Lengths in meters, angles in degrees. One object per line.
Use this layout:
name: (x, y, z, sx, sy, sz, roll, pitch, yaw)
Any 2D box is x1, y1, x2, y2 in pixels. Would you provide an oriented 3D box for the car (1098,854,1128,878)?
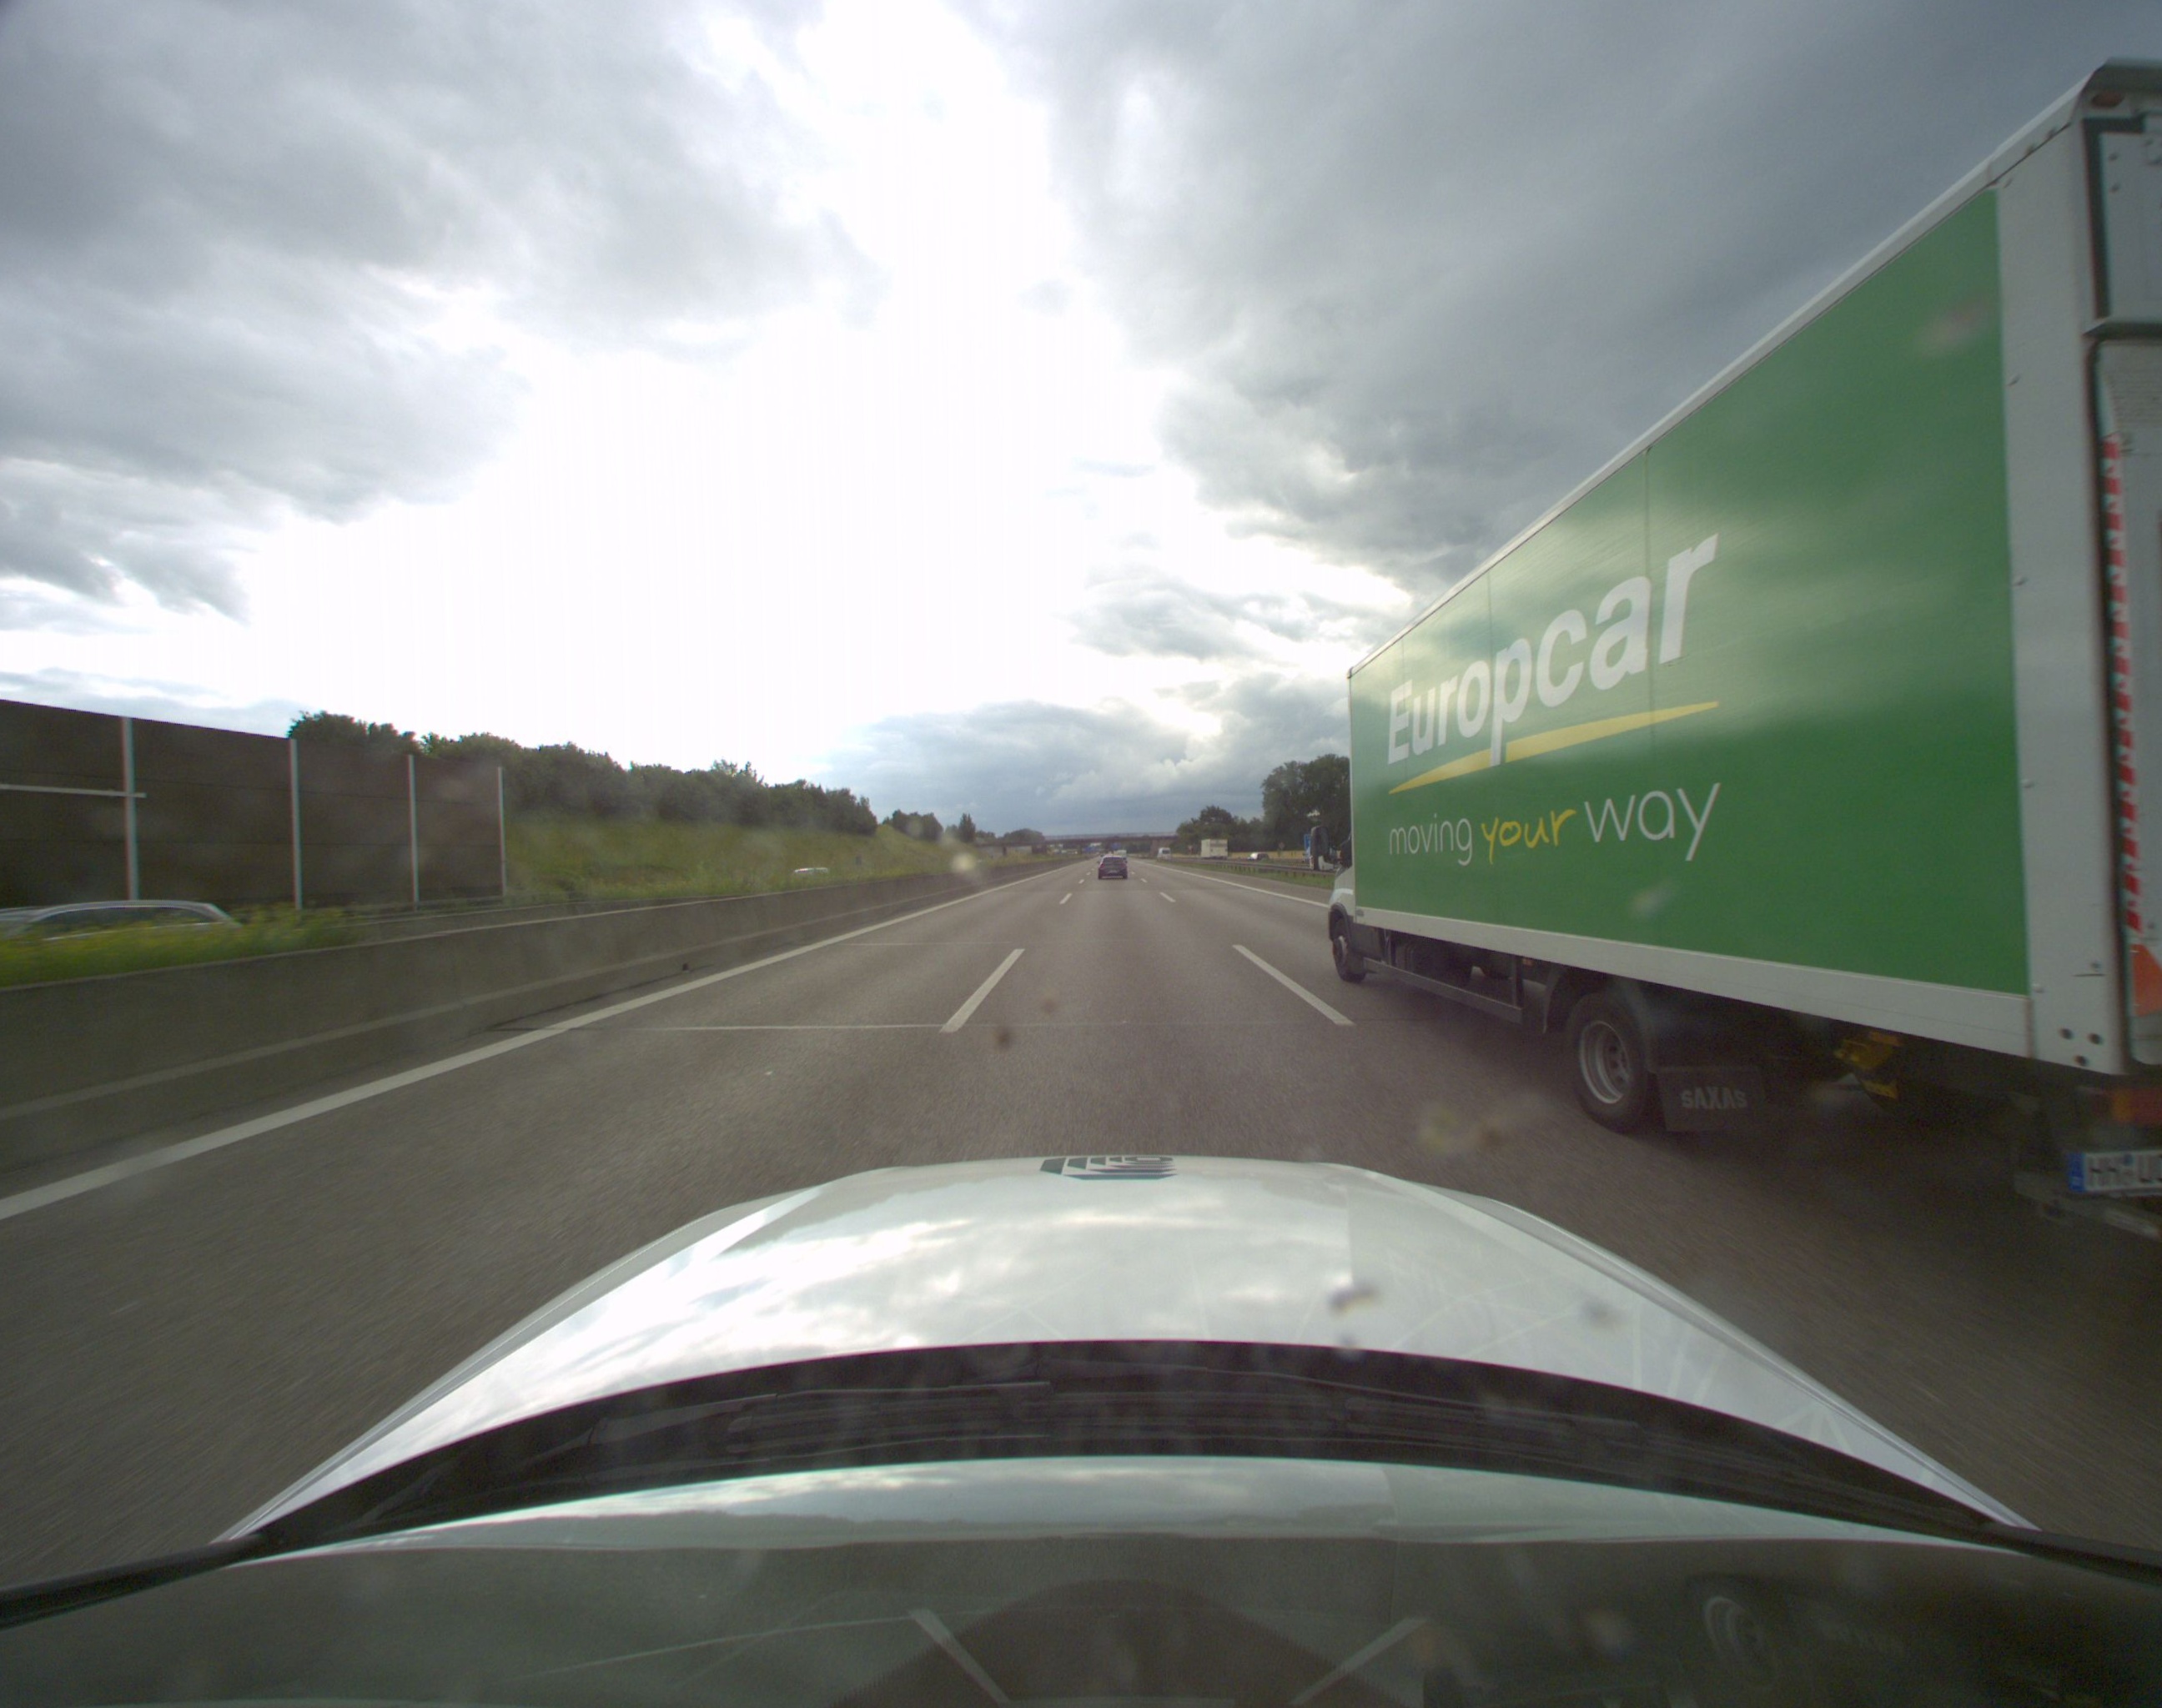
car: (1.950, 0.709, 50.131, 1.737, 1.389, 4.002, -1, 0, 2)

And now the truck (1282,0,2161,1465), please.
truck: (3.961, -0.330, 6.438, 2.760, 3.504, 9.066, -1, 0, 2)

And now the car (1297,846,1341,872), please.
car: (19.721, 0.371, 67.662, 2.137, 2.063, 4.957, -1, 0, 0)

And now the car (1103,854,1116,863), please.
car: (4.684, 0.707, 133.327, 1.986, 1.298, 4.001, -2, 0, 1)

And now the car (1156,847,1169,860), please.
car: (16.565, -0.065, 165.135, 2.213, 2.568, 6.259, -1, 0, 2)

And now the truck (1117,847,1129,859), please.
truck: (11.004, -0.273, 214.472, 2.700, 2.964, 12.451, 0, 0, 2)

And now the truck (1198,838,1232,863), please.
truck: (19.725, -0.484, 120.078, 3.098, 3.471, 8.879, 0, 0, -3)

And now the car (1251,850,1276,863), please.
car: (22.520, 0.299, 100.798, 1.912, 1.550, 4.921, -2, 0, -1)
